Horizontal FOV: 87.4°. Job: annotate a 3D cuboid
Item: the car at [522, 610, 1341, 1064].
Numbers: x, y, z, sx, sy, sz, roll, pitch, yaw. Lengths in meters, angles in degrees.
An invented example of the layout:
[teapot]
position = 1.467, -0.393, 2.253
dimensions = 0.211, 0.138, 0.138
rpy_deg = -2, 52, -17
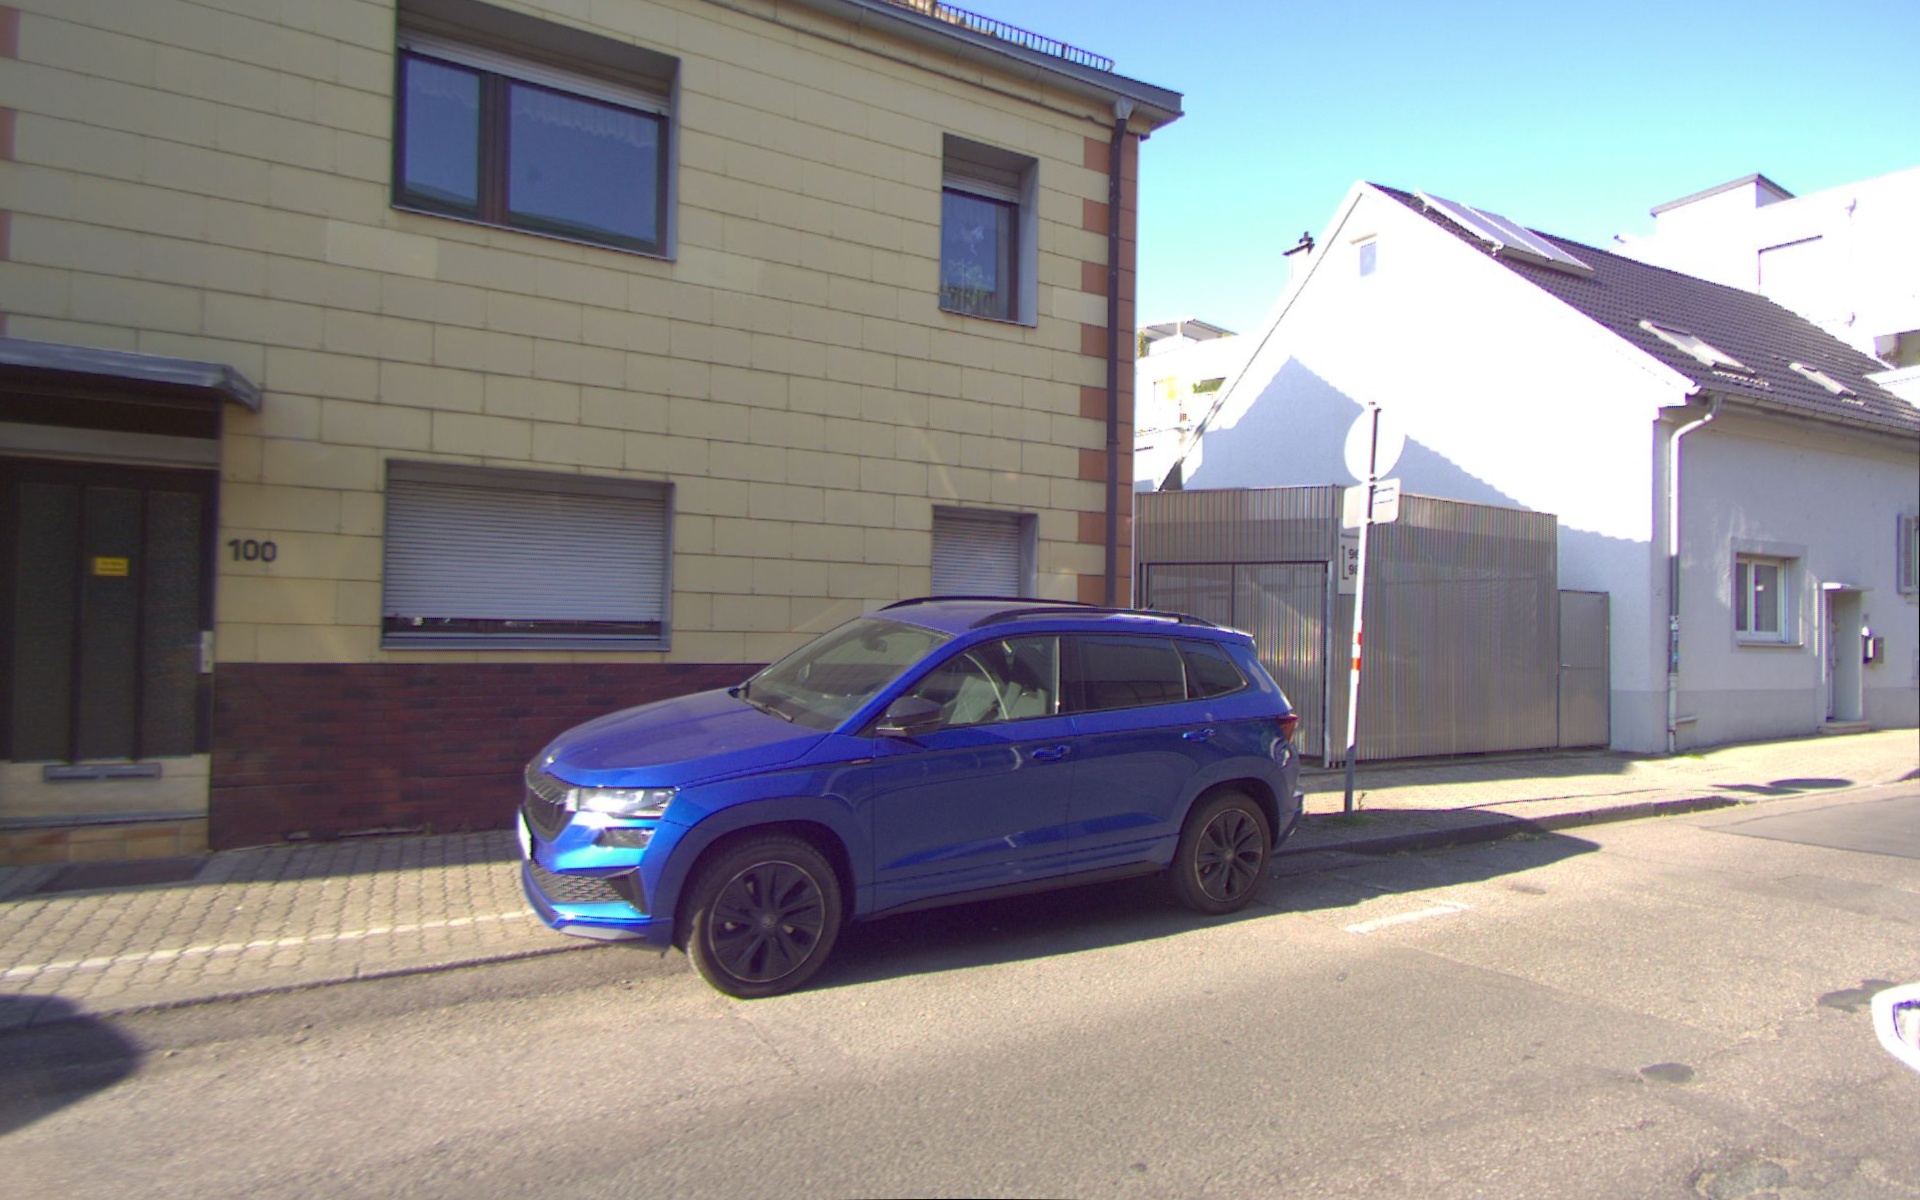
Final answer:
[car]
position = -0.054, 0.886, 5.494
dimensions = 4.143, 1.608, 1.800
rpy_deg = 0, 1, -30
